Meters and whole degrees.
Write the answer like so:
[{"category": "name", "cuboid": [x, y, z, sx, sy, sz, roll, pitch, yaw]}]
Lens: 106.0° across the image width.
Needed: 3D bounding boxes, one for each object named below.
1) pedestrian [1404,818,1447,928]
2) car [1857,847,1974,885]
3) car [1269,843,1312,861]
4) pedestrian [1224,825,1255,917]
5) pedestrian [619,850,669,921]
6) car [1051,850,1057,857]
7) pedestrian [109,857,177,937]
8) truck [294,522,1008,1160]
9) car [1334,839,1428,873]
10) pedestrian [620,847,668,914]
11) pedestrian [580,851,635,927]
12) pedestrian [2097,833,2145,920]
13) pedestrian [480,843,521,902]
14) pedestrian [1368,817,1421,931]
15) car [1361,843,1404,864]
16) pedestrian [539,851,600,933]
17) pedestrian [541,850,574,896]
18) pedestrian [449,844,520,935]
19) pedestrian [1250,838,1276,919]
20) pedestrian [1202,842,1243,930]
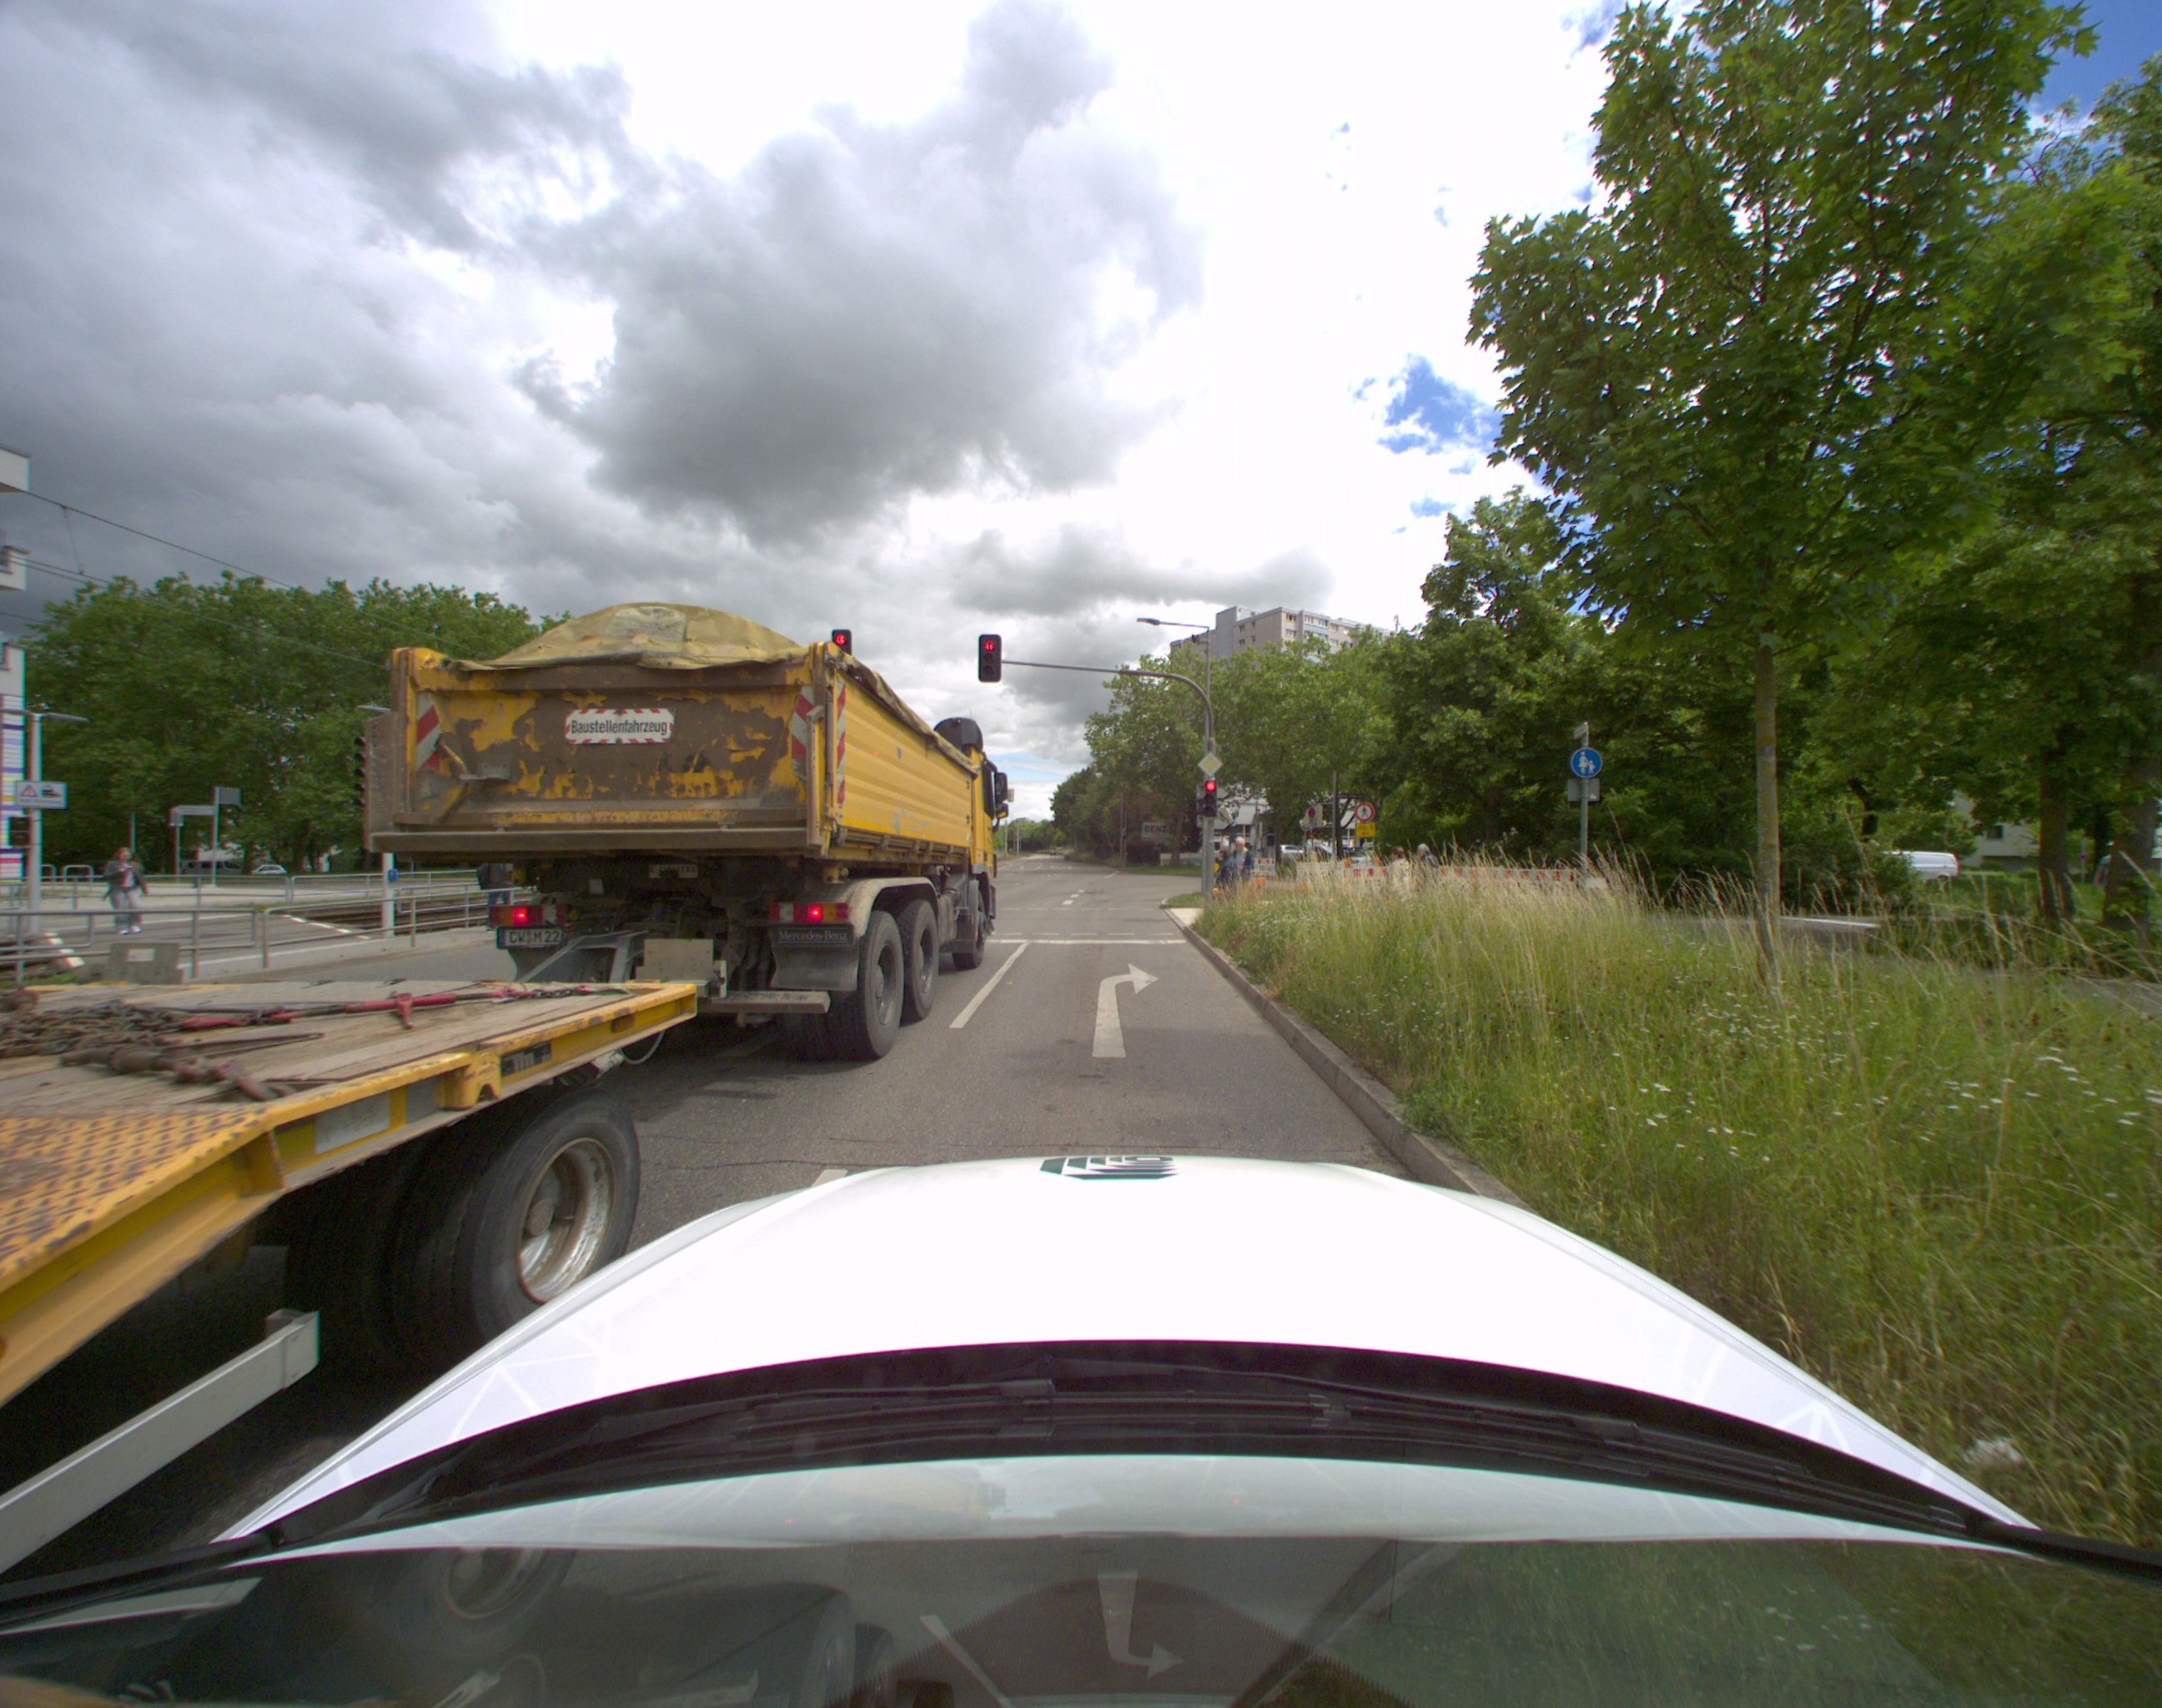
[{"category": "pedestrian", "cuboid": [6.403, 0.353, 15.145, 0.560, 2.014, 0.490, 0, -1, -8]}, {"category": "car", "cuboid": [41.830, 0.590, 40.884, 3.978, 1.816, 1.998, 0, 0, -4]}, {"category": "car", "cuboid": [20.400, -0.193, 79.350, 4.017, 1.783, 1.978, 0, 0, -36]}, {"category": "pedestrian", "cuboid": [3.521, 0.366, 18.110, 0.560, 2.014, 0.490, 0, -1, -8]}, {"category": "pedestrian", "cuboid": [-10.115, 0.712, 18.879, 0.679, 1.602, 0.823, 0, 0, 0]}, {"category": "car", "cuboid": [-7.978, -0.115, 240.143, 1.686, 1.925, 3.996, 0, 0, -3]}, {"category": "pedestrian", "cuboid": [-18.088, 0.802, 15.707, 0.523, 1.479, 0.803, 1, 0, 34]}, {"category": "truck", "cuboid": [-2.631, -0.105, 8.431, 2.743, 3.313, 8.354, 0, 0, 1]}, {"category": "car", "cuboid": [14.870, 0.080, 40.511, 3.973, 1.607, 2.000, 0, 0, 1]}, {"category": "pedestrian", "cuboid": [-11.262, 0.669, 21.007, 0.832, 1.669, 0.936, 0, 0, -10]}, {"category": "pedestrian", "cuboid": [-10.167, 0.733, 17.495, 0.679, 1.602, 0.823, 0, 0, 0]}, {"category": "pedestrian", "cuboid": [21.319, 0.450, 16.703, 0.490, 1.743, 0.571, 0, 0, -35]}, {"category": "pedestrian", "cuboid": [-22.192, 0.688, 31.171, 0.912, 2.204, 0.882, 0, 0, 1]}, {"category": "pedestrian", "cuboid": [5.649, 0.351, 14.686, 0.671, 2.014, 0.633, 0, -1, -8]}, {"category": "car", "cuboid": [28.897, -0.025, 77.972, 4.017, 1.954, 1.978, 0, 0, -36]}, {"category": "pedestrian", "cuboid": [-10.223, 0.743, 16.304, 0.679, 1.602, 0.823, 0, 0, 0]}, {"category": "pedestrian", "cuboid": [-24.872, 0.891, 38.703, 0.912, 2.133, 0.935, 0, 0, 1]}, {"category": "pedestrian", "cuboid": [-11.227, 0.657, 15.348, 0.817, 1.668, 0.684, 0, 0, 2]}, {"category": "pedestrian", "cuboid": [4.609, 0.614, 20.658, 0.499, 2.014, 0.490, 0, -1, -8]}, {"category": "pedestrian", "cuboid": [2.740, 0.598, 15.718, 0.621, 1.653, 0.566, 0, -1, 28]}]
